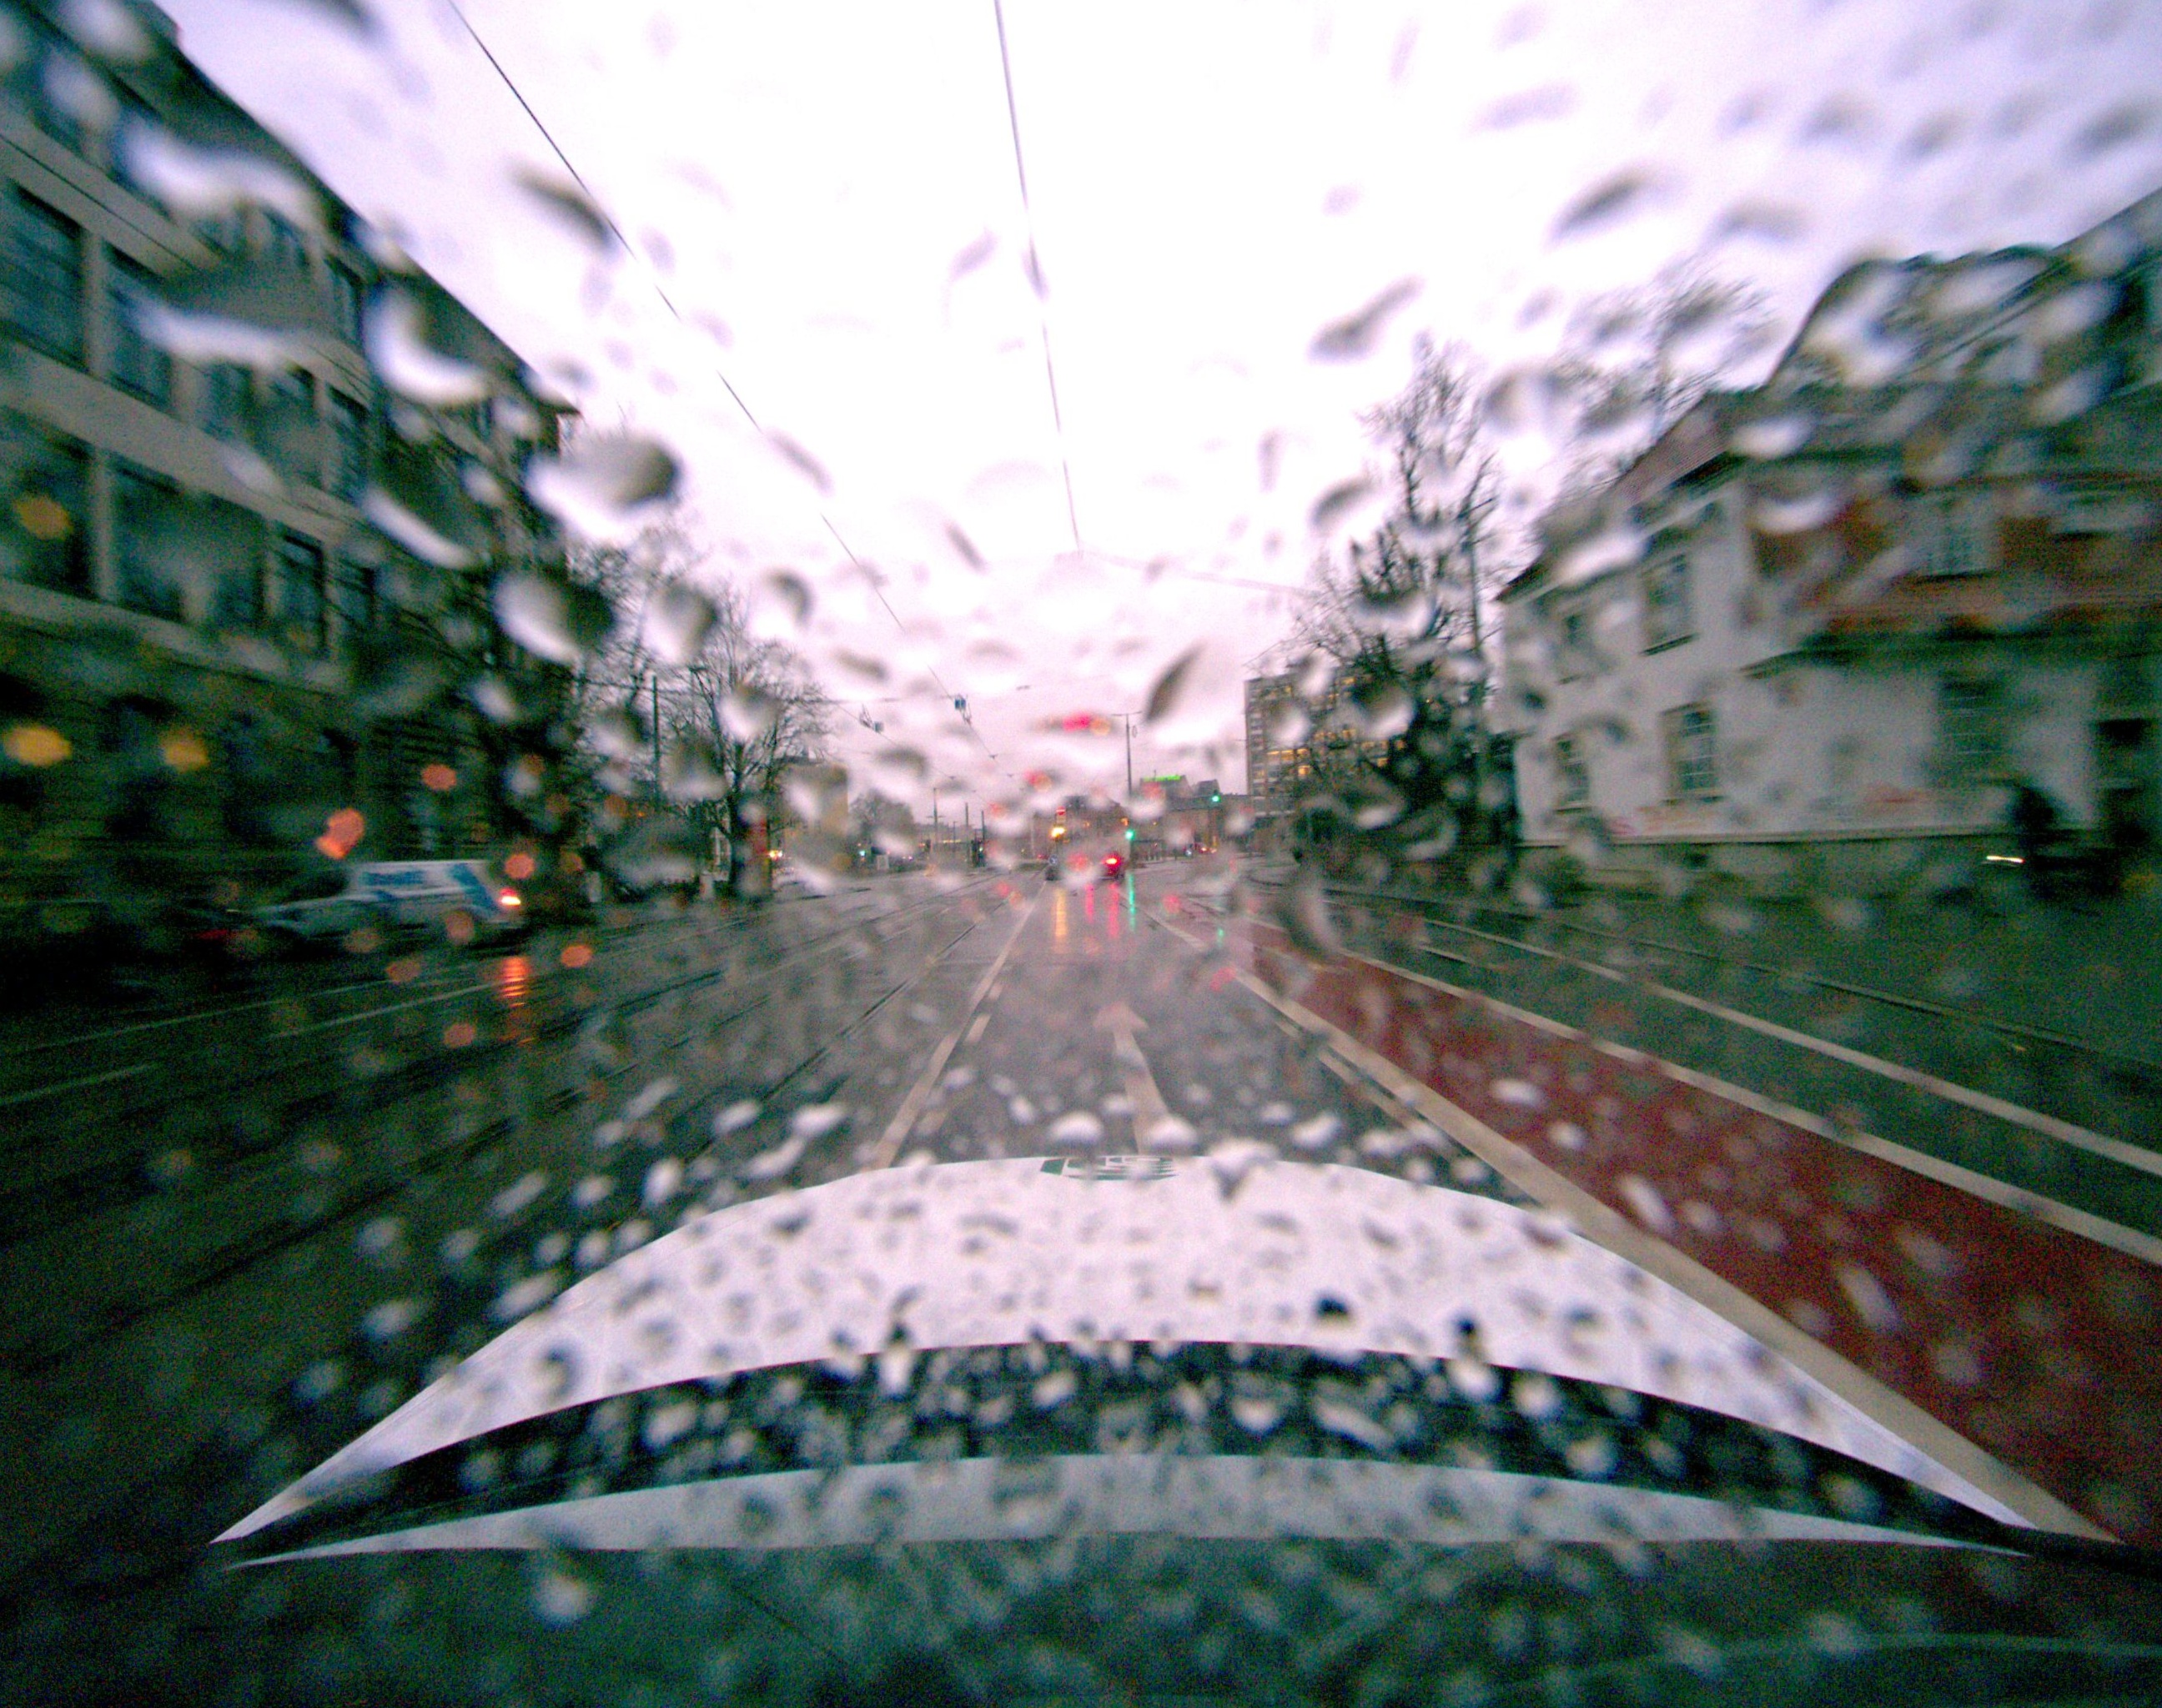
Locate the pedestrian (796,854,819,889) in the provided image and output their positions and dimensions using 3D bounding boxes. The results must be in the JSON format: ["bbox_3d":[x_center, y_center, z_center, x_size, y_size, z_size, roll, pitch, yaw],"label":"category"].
[{"bbox_3d":[-18.426,1.170,54.935,0.984,2.370,1.071,0,-1,29],"label":"pedestrian"}]

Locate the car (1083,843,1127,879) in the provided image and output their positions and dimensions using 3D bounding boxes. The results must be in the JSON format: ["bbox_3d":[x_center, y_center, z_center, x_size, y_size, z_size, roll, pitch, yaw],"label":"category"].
[{"bbox_3d":[1.401,0.363,45.635,1.635,1.818,4.015,-1,1,13],"label":"car"}]

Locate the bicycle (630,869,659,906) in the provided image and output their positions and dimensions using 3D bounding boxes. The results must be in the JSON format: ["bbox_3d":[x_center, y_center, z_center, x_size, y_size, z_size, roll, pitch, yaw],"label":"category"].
[{"bbox_3d":[-20.909,1.564,39.001,0.717,1.689,2.401,1,-1,-40],"label":"bicycle"}]

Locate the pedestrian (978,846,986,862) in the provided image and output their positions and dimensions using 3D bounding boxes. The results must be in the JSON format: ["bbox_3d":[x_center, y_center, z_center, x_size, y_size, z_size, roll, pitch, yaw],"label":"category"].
[{"bbox_3d":[-11.001,0.054,90.560,0.710,1.757,0.717,-1,-1,-1],"label":"pedestrian"}]

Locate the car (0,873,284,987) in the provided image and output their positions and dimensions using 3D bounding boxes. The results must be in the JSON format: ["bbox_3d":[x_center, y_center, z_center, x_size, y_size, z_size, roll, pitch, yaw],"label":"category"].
[{"bbox_3d":[-14.731,1.036,11.589,4.488,1.457,1.784,0,0,-28],"label":"car"}]

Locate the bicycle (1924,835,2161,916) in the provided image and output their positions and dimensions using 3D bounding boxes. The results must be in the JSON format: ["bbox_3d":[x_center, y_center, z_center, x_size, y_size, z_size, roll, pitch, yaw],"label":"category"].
[{"bbox_3d":[12.933,0.278,10.965,2.107,0.944,0.945,-3,-1,2],"label":"bicycle"}]

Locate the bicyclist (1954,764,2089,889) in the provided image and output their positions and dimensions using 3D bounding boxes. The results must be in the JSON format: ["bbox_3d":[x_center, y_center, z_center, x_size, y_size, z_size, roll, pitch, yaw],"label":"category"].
[{"bbox_3d":[12.687,-0.354,11.019,0.850,1.595,0.781,-2,-1,3],"label":"bicyclist"}]

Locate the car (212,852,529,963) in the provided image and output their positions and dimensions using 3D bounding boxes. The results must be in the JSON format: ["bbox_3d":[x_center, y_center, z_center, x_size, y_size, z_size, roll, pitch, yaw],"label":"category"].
[{"bbox_3d":[-14.679,1.001,17.233,4.828,2.033,1.891,0,-1,-39],"label":"car"}]

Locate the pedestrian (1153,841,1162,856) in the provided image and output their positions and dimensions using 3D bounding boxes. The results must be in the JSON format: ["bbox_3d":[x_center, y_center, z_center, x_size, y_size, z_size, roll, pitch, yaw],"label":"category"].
[{"bbox_3d":[8.226,-0.600,87.283,0.666,1.674,0.735,0,-1,37],"label":"pedestrian"}]

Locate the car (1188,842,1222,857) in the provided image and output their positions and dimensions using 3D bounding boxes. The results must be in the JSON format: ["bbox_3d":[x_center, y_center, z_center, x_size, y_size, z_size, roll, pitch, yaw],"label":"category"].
[{"bbox_3d":[19.365,-0.706,127.381,2.270,2.281,4.978,0,0,-40],"label":"car"}]

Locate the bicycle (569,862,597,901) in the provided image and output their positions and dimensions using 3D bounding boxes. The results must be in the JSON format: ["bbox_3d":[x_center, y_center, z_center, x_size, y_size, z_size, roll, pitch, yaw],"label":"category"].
[{"bbox_3d":[-22.888,1.237,37.404,0.717,1.689,2.401,1,-1,-40],"label":"bicycle"}]
